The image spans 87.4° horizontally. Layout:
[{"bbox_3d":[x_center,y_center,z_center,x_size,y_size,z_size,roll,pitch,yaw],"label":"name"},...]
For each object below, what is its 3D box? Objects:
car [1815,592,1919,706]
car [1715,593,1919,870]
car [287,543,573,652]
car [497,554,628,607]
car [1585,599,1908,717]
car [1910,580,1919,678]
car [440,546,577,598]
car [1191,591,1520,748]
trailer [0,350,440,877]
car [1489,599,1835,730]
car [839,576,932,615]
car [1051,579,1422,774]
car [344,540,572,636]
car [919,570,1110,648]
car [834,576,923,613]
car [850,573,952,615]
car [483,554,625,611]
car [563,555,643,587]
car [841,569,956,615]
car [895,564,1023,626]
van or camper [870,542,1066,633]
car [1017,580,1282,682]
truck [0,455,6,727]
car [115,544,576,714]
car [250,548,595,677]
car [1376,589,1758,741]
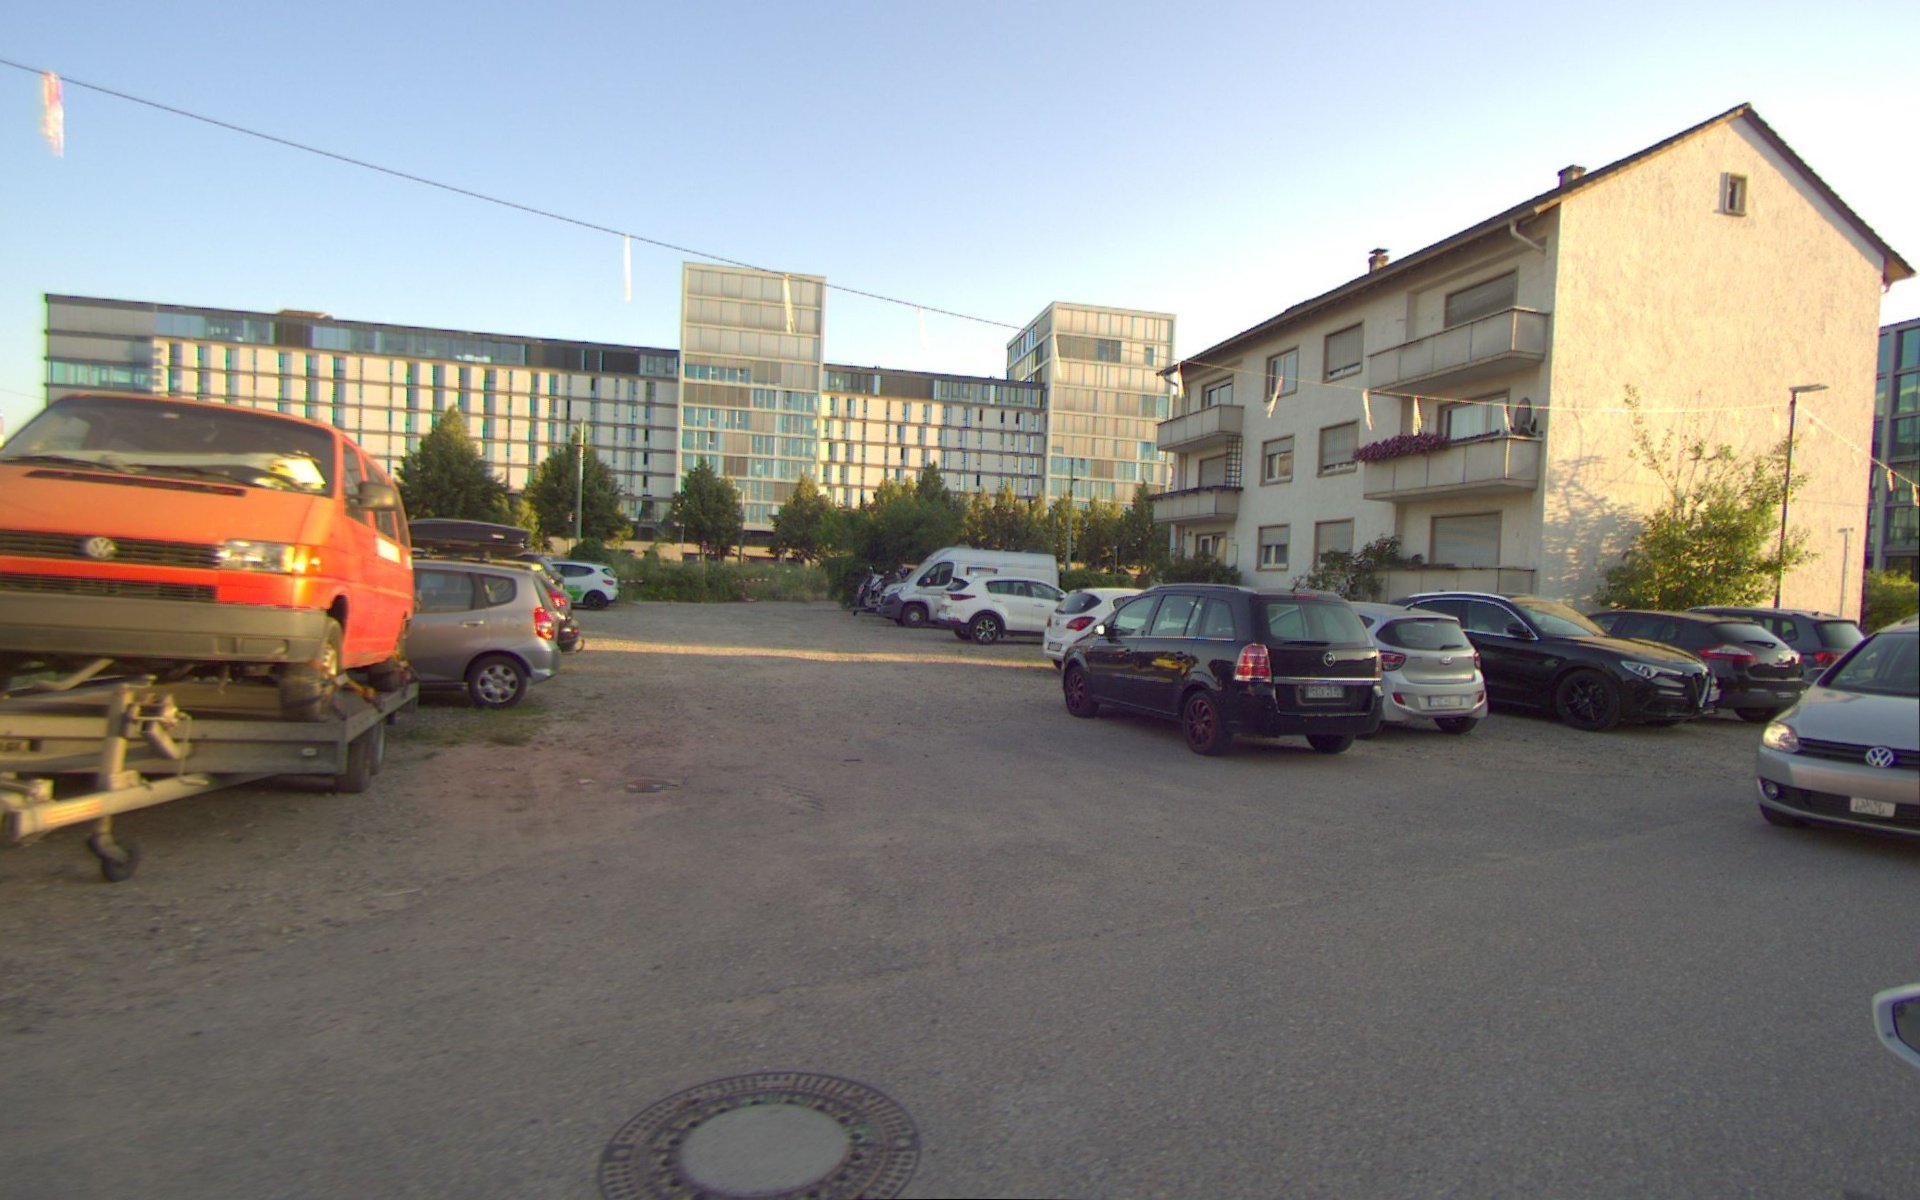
[{"bbox_3d":[18.135,0.968,17.995,1.732,1.937,3.896,1,3,-37],"label":"car"},{"bbox_3d":[7.533,0.869,7.333,4.235,1.641,1.662,2,1,-30],"label":"car"},{"bbox_3d":[-8.440,-0.029,16.357,3.884,1.543,1.838,2,1,-25],"label":"car"},{"bbox_3d":[-13.330,-0.660,33.897,3.873,1.560,1.658,2,1,-16],"label":"car"},{"bbox_3d":[12.788,0.856,16.652,1.618,1.601,3.919,1,1,-20],"label":"car"},{"bbox_3d":[29.371,1.054,26.091,2.089,2.749,6.354,3,2,-31],"label":"car"},{"bbox_3d":[-18.197,-1.118,40.711,4.755,1.867,1.680,2,1,-14],"label":"car"},{"bbox_3d":[4.861,0.741,13.006,1.781,1.541,3.919,1,3,-20],"label":"car"},{"bbox_3d":[-5.117,-0.026,7.009,2.104,2.465,4.781,3,2,-23],"label":"trailer"},{"bbox_3d":[10.114,0.859,14.848,1.618,1.536,3.919,3,1,-20],"label":"car"},{"bbox_3d":[-3.086,-0.182,41.578,3.594,1.427,1.483,2,1,-14],"label":"car"},{"bbox_3d":[2.702,0.651,10.878,1.822,1.641,4.030,2,1,-20],"label":"car"},{"bbox_3d":[-9.925,-0.226,20.147,3.884,1.691,1.838,2,1,-25],"label":"car"},{"bbox_3d":[1.284,0.210,24.394,4.244,1.653,1.844,2,1,-14],"label":"car"},{"bbox_3d":[-3.551,-0.261,43.538,3.594,1.427,1.483,2,1,-14],"label":"car"},{"bbox_3d":[-2.244,-0.228,38.050,3.594,1.427,1.483,2,1,-14],"label":"car"},{"bbox_3d":[-12.550,-0.536,31.309,3.873,1.560,1.658,2,1,-16],"label":"car"},{"bbox_3d":[-19.215,-1.555,54.235,3.873,1.560,1.658,2,1,-16],"label":"car"},{"bbox_3d":[-2.197,-0.273,35.608,3.873,1.566,1.556,0,2,-14],"label":"car"},{"bbox_3d":[-0.060,-0.166,32.766,3.873,1.831,1.556,2,1,-14],"label":"car"},{"bbox_3d":[0.217,-0.371,30.377,5.588,2.425,1.844,2,1,-14],"label":"van or camper"},{"bbox_3d":[3.236,0.527,17.364,4.086,1.543,1.842,2,1,-18],"label":"car"},{"bbox_3d":[-7.019,0.010,4.448,2.325,2.070,5.990,2,1,-26],"label":"truck"},{"bbox_3d":[-6.280,0.301,10.793,3.885,1.543,1.838,2,1,-25],"label":"car"},{"bbox_3d":[-7.159,0.183,13.767,3.885,1.543,1.838,2,1,-25],"label":"car"},{"bbox_3d":[7.944,0.728,13.598,1.797,1.650,4.074,1,1,-26],"label":"car"}]
